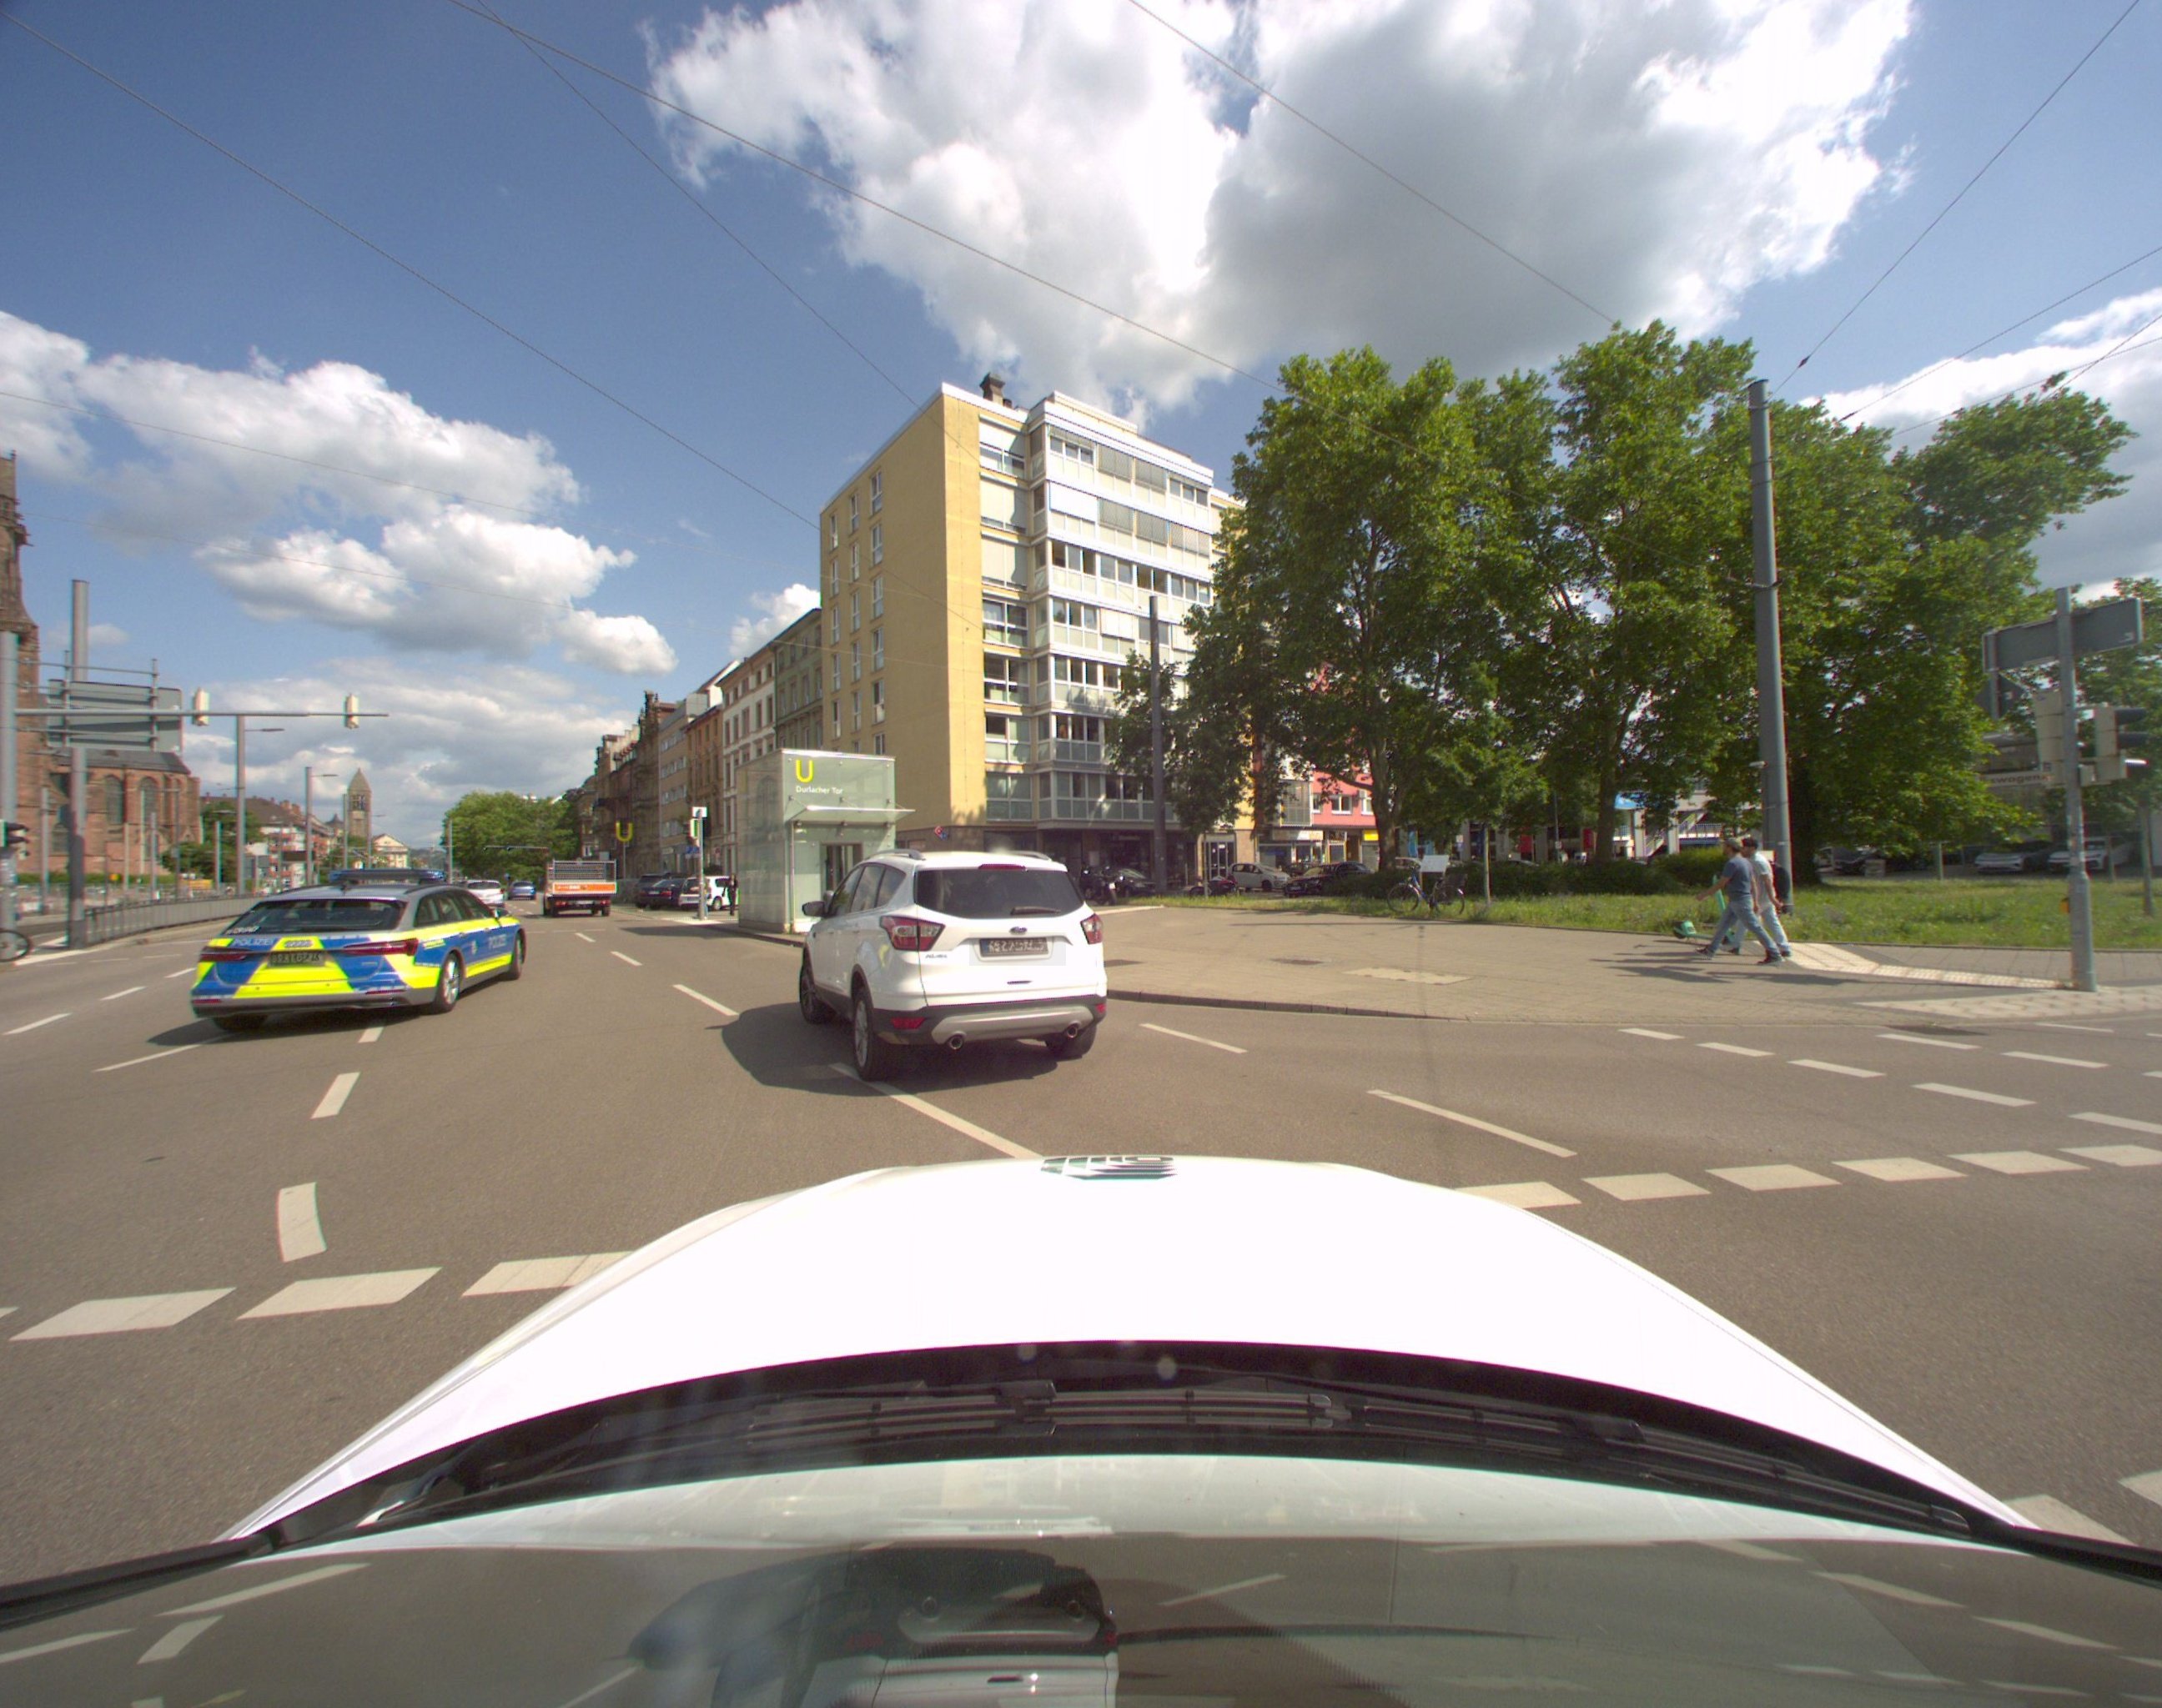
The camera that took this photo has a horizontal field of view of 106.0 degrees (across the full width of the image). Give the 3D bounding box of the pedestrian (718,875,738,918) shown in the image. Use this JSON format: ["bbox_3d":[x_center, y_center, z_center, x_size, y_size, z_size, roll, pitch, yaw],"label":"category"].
[{"bbox_3d":[-12.865,1.543,29.693,0.558,1.534,0.692,0,-2,-33],"label":"pedestrian"}]

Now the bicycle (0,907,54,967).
[{"bbox_3d":[-22.887,1.744,16.564,2.371,1.138,0.879,-1,1,-44],"label":"bicycle"}]

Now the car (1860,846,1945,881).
[{"bbox_3d":[48.899,0.563,48.449,5.077,1.937,1.957,0,-3,-26],"label":"car"}]

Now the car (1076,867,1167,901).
[{"bbox_3d":[1.688,1.257,34.995,1.681,1.398,3.953,1,-2,-40],"label":"car"}]

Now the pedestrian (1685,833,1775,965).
[{"bbox_3d":[9.013,0.589,11.315,0.915,1.743,0.593,0,0,45],"label":"pedestrian"}]

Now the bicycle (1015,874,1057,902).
[{"bbox_3d":[-1.898,1.405,34.178,0.801,1.147,1.788,0,-1,-43],"label":"bicycle"}]

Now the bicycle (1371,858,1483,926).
[{"bbox_3d":[7.738,0.809,18.308,0.816,1.414,2.150,-1,0,-40],"label":"bicycle"}]

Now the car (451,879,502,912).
[{"bbox_3d":[-29.658,2.015,39.912,1.863,1.475,3.954,-1,-1,-39],"label":"car"}]

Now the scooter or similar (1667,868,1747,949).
[{"bbox_3d":[9.993,0.844,13.029,0.397,1.193,1.175,0,0,1],"label":"scooter or similar"}]

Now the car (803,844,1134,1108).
[{"bbox_3d":[-1.293,0.831,7.323,1.836,1.664,3.921,0,-2,-26],"label":"car"}]

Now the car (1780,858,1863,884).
[{"bbox_3d":[52.545,1.223,57.869,1.840,1.790,3.977,0,-2,-16],"label":"car"}]

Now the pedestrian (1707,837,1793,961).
[{"bbox_3d":[9.802,0.623,11.938,0.592,1.743,0.915,0,0,-44],"label":"pedestrian"}]

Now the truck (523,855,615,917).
[{"bbox_3d":[-19.692,1.176,31.172,2.358,2.155,5.784,0,-1,-39],"label":"truck"}]

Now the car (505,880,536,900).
[{"bbox_3d":[-42.280,2.716,61.385,1.750,1.376,3.955,0,-1,-37],"label":"car"}]

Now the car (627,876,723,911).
[{"bbox_3d":[-18.158,1.732,36.623,1.882,1.497,3.909,0,-2,9],"label":"car"}]

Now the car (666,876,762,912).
[{"bbox_3d":[-15.870,1.695,35.466,1.882,1.497,3.910,0,-2,10],"label":"car"}]

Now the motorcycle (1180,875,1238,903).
[{"bbox_3d":[4.695,1.267,29.795,2.024,0.917,0.814,-2,-1,12],"label":"motorcycle"}]

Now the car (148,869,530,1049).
[{"bbox_3d":[-8.323,1.003,9.777,1.887,1.568,4.581,-1,-1,-22],"label":"car"}]

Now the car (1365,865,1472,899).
[{"bbox_3d":[13.760,1.147,33.424,1.636,1.327,3.965,1,-2,-26],"label":"car"}]

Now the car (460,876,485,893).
[{"bbox_3d":[-54.343,2.730,72.806,1.750,1.376,3.955,0,-1,-37],"label":"car"}]

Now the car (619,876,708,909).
[{"bbox_3d":[-20.122,1.816,39.449,1.882,1.497,3.909,0,-2,9],"label":"car"}]

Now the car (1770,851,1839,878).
[{"bbox_3d":[48.882,0.746,55.152,1.823,1.790,4.015,-1,-2,14],"label":"car"}]

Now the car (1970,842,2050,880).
[{"bbox_3d":[50.026,0.414,43.845,4.242,1.937,1.955,0,-3,-29],"label":"car"}]

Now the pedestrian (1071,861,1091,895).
[{"bbox_3d":[-0.011,1.141,39.600,0.856,1.608,0.830,0,0,-7],"label":"pedestrian"}]

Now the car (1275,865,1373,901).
[{"bbox_3d":[10.130,1.186,33.832,4.018,1.413,1.890,1,-3,-37],"label":"car"}]

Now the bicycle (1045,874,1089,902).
[{"bbox_3d":[-0.610,1.415,34.497,0.801,1.147,1.926,0,-1,-43],"label":"bicycle"}]

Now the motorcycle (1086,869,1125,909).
[{"bbox_3d":[0.774,1.118,26.681,0.902,1.238,2.213,-2,-1,-7],"label":"motorcycle"}]

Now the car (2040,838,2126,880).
[{"bbox_3d":[50.875,0.275,41.323,4.242,2.014,1.981,0,-3,-29],"label":"car"}]

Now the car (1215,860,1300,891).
[{"bbox_3d":[9.047,1.088,41.938,1.812,1.495,3.953,0,-1,-40],"label":"car"}]
